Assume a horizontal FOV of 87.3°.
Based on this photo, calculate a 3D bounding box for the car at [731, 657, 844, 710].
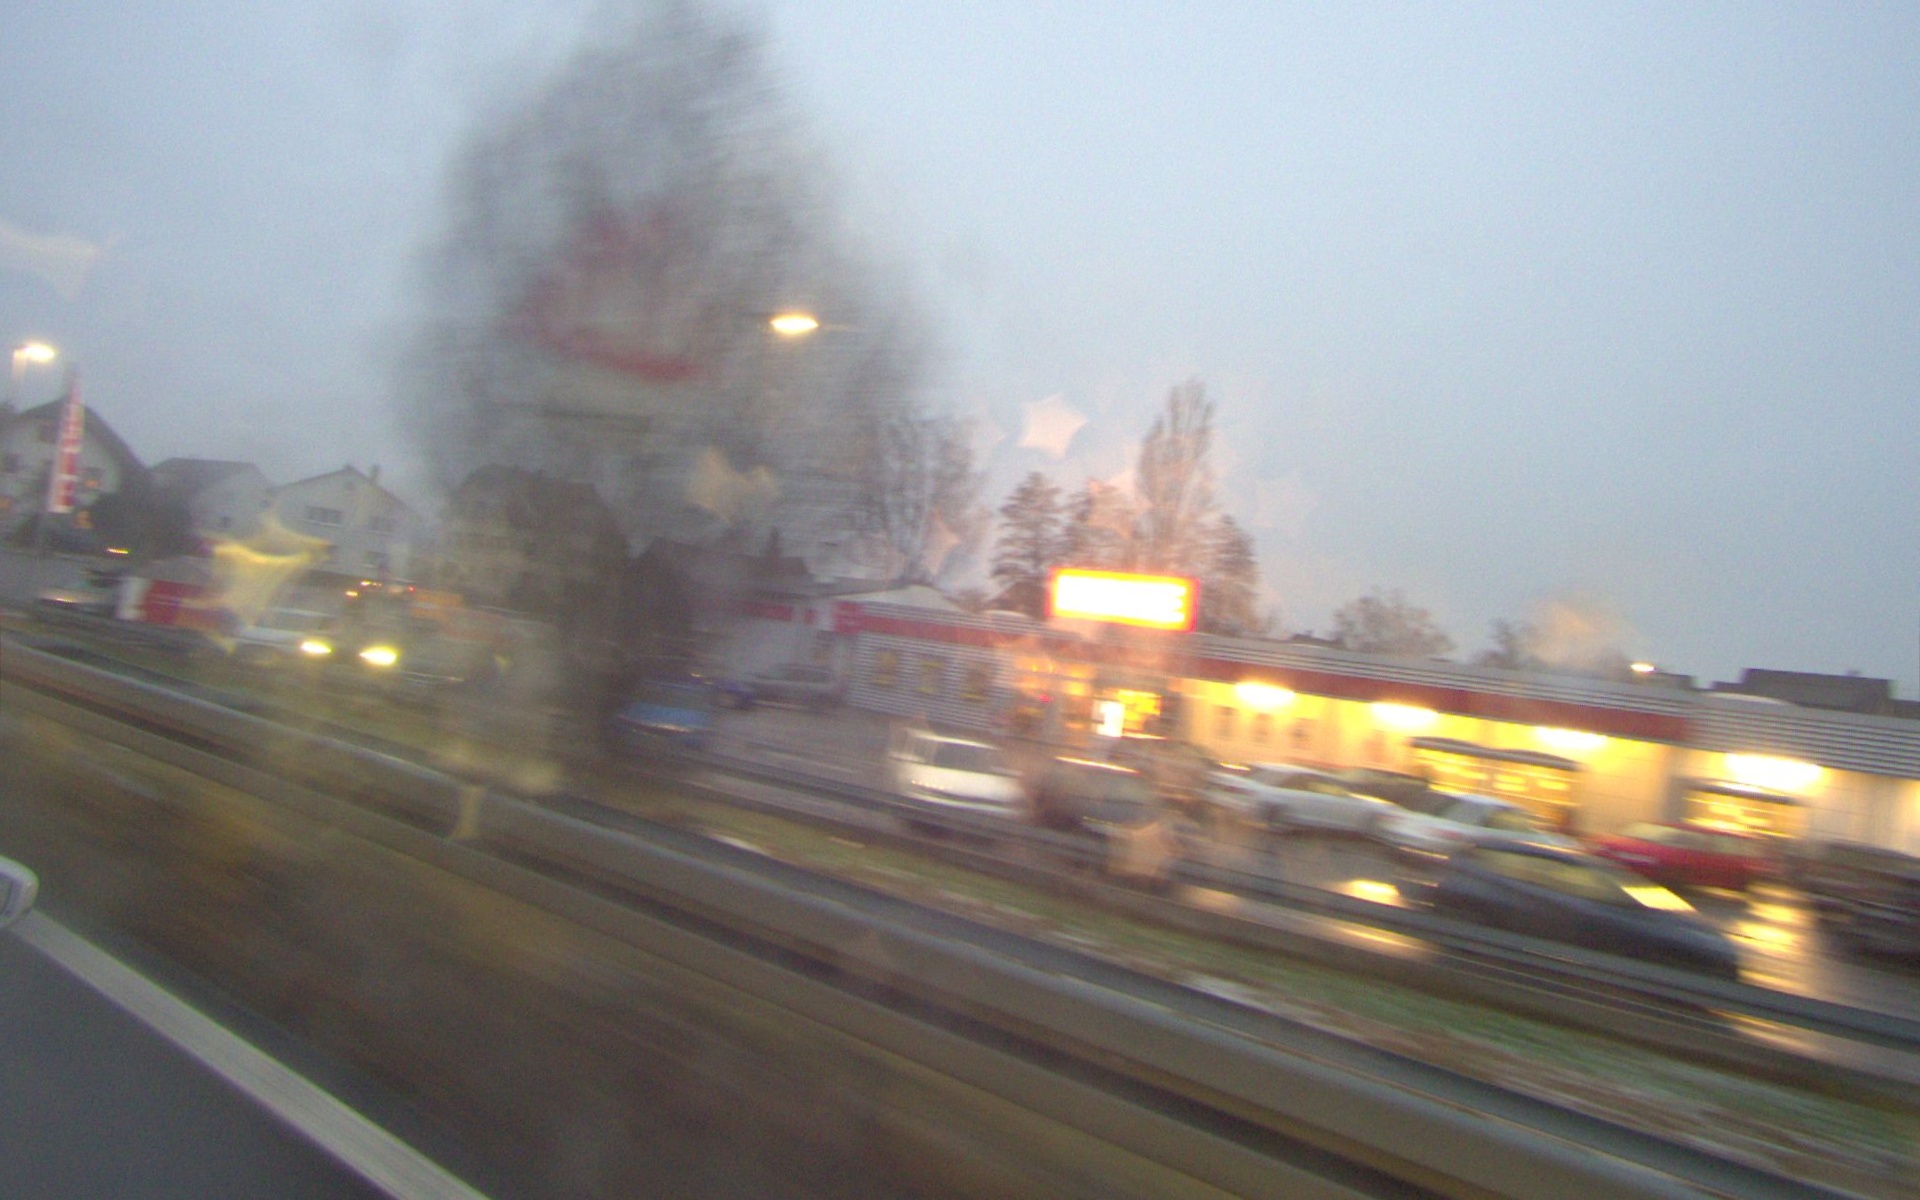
[{"bbox_3d":[-6.275,3.026,36.488,3.782,1.367,1.564,9,-2,-16],"label":"car"}]

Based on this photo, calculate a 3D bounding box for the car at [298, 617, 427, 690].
[{"bbox_3d":[-14.807,1.266,25.157,1.607,1.436,3.990,8,-2,-15],"label":"car"}]

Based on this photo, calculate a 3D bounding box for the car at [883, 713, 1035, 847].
[{"bbox_3d":[-0.176,3.047,17.818,1.872,1.413,4.699,7,-2,-8],"label":"car"}]

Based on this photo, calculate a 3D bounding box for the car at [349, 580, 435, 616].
[{"bbox_3d":[-30.042,-0.124,53.217,3.815,1.338,1.759,9,-2,-32],"label":"car"}]

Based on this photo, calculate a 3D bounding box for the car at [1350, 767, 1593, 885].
[{"bbox_3d":[10.603,4.678,20.868,4.410,1.657,1.819,10,-2,-19],"label":"car"}]

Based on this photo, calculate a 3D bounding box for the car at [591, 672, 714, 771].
[{"bbox_3d":[-6.266,2.440,20.964,1.873,1.413,4.173,8,-2,-11],"label":"car"}]

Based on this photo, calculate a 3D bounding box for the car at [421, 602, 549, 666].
[{"bbox_3d":[-18.112,1.288,38.559,3.975,1.890,1.718,8,-1,-16],"label":"car"}]

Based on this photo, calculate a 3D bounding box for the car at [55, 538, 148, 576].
[{"bbox_3d":[-52.952,-2.631,62.140,3.961,1.680,1.927,9,-2,-32],"label":"car"}]

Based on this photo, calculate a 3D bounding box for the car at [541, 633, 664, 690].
[{"bbox_3d":[-12.425,2.140,35.169,3.700,1.446,1.566,8,-2,-11],"label":"car"}]

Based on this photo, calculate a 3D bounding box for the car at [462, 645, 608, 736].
[{"bbox_3d":[-9.136,1.895,22.057,1.900,1.471,4.582,8,-3,-11],"label":"car"}]

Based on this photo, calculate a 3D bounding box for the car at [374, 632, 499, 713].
[{"bbox_3d":[-12.113,1.631,23.532,1.607,1.436,3.990,8,-2,-15],"label":"car"}]

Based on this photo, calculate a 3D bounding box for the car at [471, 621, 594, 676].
[{"bbox_3d":[-15.556,1.751,36.731,3.697,1.446,1.568,8,-1,-7],"label":"car"}]

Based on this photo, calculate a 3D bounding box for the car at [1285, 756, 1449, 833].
[{"bbox_3d":[10.597,5.073,26.274,3.574,1.362,1.597,9,-2,-12],"label":"car"}]

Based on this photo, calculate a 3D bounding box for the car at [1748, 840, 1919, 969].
[{"bbox_3d":[15.962,5.338,17.451,1.376,1.552,3.239,10,-3,-26],"label":"car"}]

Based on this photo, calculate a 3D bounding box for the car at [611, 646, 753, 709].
[{"bbox_3d":[-9.080,2.535,33.099,4.248,1.441,1.742,8,-2,-13],"label":"car"}]

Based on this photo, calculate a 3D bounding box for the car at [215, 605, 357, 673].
[{"bbox_3d":[-17.698,0.977,26.644,1.770,1.455,3.990,8,-2,-15],"label":"car"}]

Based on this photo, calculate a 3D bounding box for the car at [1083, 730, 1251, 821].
[{"bbox_3d":[5.073,4.307,24.831,3.571,1.603,1.598,8,-2,-8],"label":"car"}]

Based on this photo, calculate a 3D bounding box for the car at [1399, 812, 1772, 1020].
[{"bbox_3d":[7.894,3.922,13.056,3.747,1.445,1.771,6,-2,30],"label":"car"}]

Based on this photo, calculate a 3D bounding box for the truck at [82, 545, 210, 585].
[{"bbox_3d":[-49.589,-2.105,61.442,5.733,1.564,1.927,9,-2,-32],"label":"truck"}]

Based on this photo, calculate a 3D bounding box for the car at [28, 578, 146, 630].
[{"bbox_3d":[-26.479,0.102,30.631,1.370,1.328,3.199,8,-2,-17],"label":"car"}]

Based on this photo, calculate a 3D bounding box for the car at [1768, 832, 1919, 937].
[{"bbox_3d":[19.257,6.002,21.179,3.930,1.613,1.792,9,-2,-24],"label":"car"}]

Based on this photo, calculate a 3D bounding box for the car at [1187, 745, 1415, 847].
[{"bbox_3d":[7.643,4.395,22.639,4.473,1.552,1.802,9,-2,-14],"label":"car"}]

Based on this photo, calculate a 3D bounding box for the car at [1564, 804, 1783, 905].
[{"bbox_3d":[15.849,5.648,22.398,3.964,1.519,1.723,9,-1,-14],"label":"car"}]

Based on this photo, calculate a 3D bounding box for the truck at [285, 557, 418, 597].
[{"bbox_3d":[-47.180,-1.793,78.336,8.574,1.836,2.397,9,-2,-30],"label":"truck"}]

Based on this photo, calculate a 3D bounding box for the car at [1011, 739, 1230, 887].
[{"bbox_3d":[2.411,3.326,16.336,1.823,1.413,4.168,8,-2,-15],"label":"car"}]
